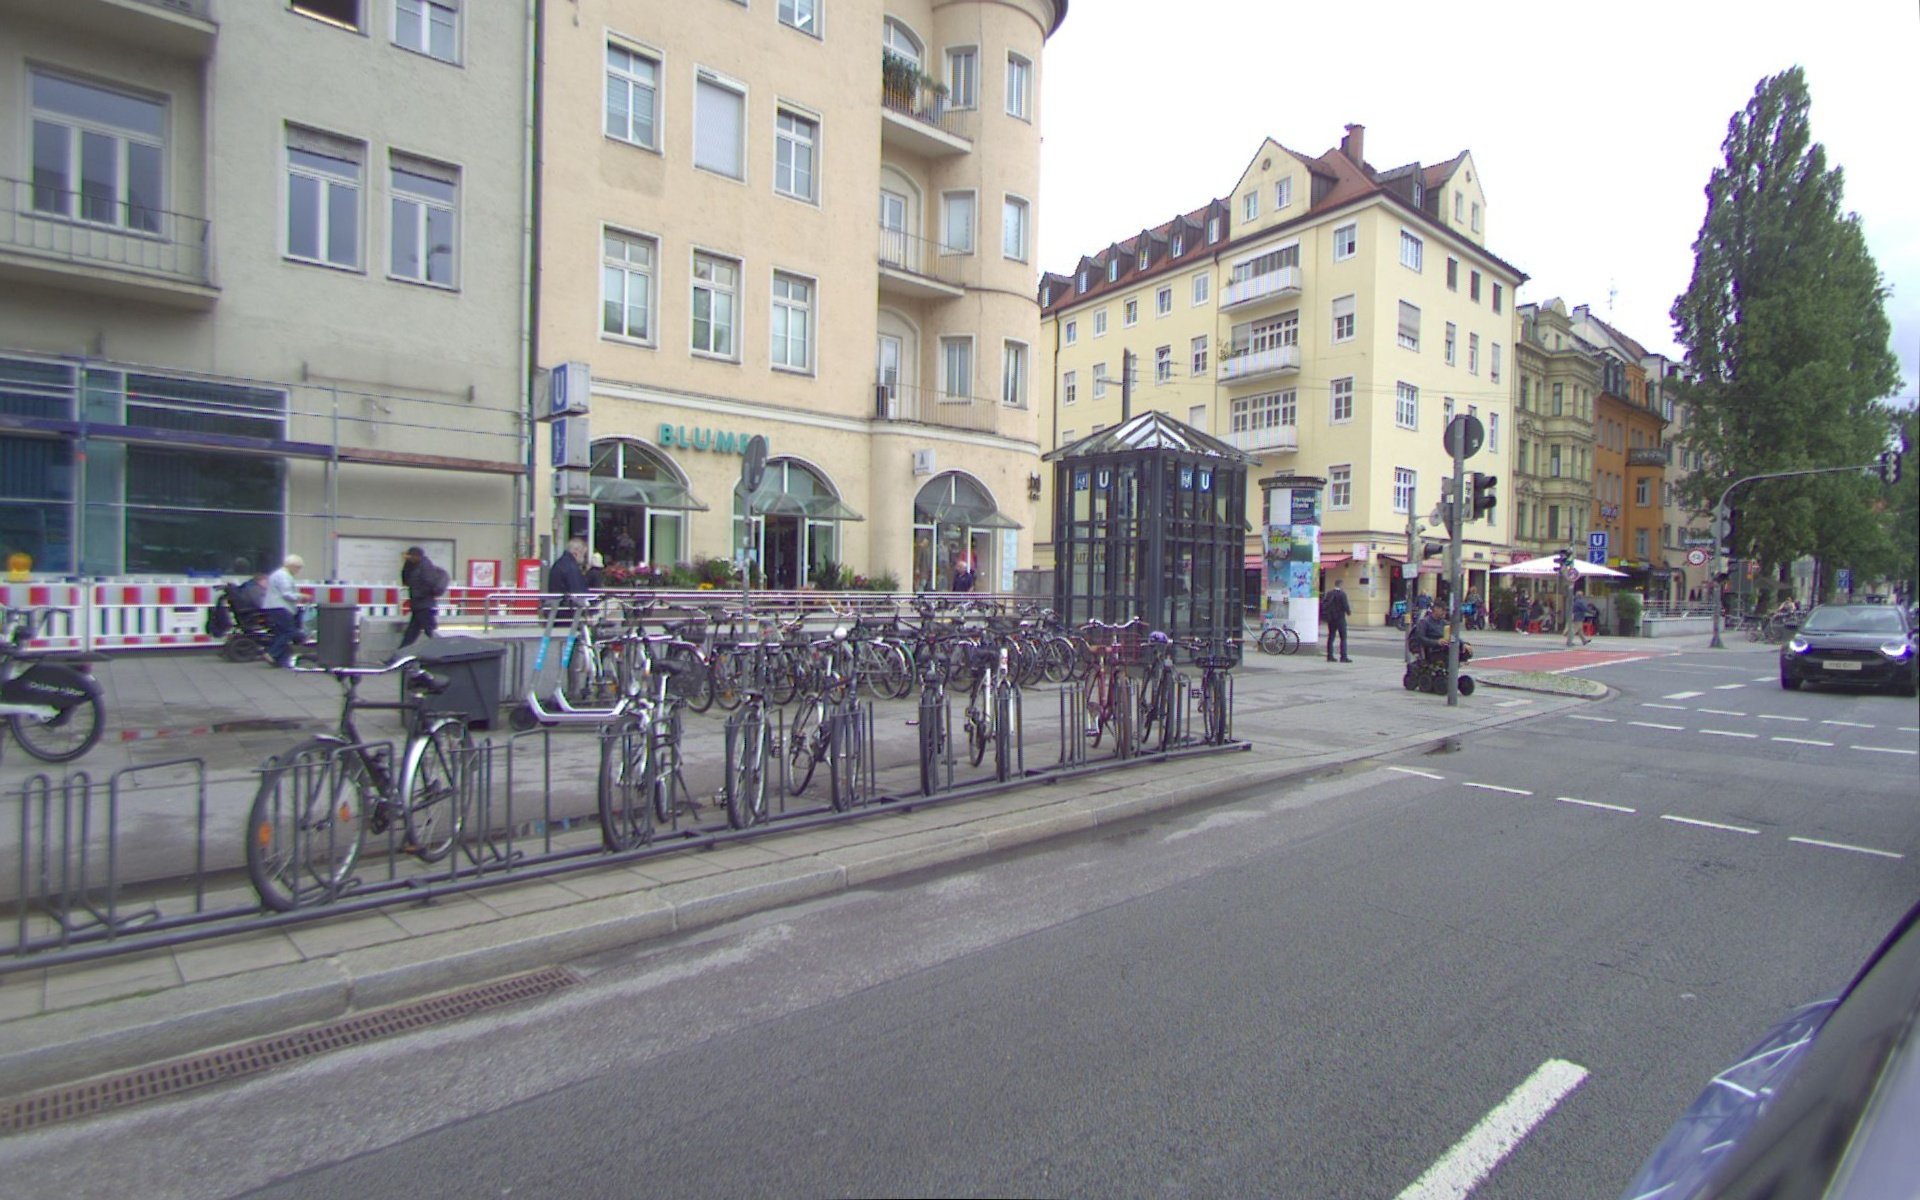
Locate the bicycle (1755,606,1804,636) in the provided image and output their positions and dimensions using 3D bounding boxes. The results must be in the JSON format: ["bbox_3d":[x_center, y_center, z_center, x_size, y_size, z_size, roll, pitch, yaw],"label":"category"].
[{"bbox_3d":[30.345,0.766,37.496,0.341,1.008,1.841,1,2,3],"label":"bicycle"}]

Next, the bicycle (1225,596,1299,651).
[{"bbox_3d":[6.930,0.530,23.267,0.515,1.174,1.573,3,1,-38],"label":"bicycle"}]

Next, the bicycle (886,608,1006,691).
[{"bbox_3d":[-0.223,0.627,13.537,0.500,0.976,1.840,1,1,-42],"label":"bicycle"}]

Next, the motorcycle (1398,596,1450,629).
[{"bbox_3d":[17.912,0.459,39.116,1.744,1.215,0.539,1,1,19],"label":"motorcycle"}]

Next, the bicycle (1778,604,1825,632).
[{"bbox_3d":[33.497,0.698,40.309,0.341,1.008,1.842,1,2,1],"label":"bicycle"}]

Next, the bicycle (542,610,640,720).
[{"bbox_3d":[-3.824,0.628,10.419,0.363,0.976,1.758,1,1,-40],"label":"bicycle"}]

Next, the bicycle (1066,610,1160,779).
[{"bbox_3d":[1.252,0.719,8.544,0.549,1.213,1.804,1,1,2],"label":"bicycle"}]

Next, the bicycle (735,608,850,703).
[{"bbox_3d":[-2.009,0.621,11.953,0.445,0.976,1.757,1,1,-42],"label":"bicycle"}]

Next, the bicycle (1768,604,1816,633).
[{"bbox_3d":[31.986,0.697,38.939,0.341,1.008,1.841,1,2,3],"label":"bicycle"}]

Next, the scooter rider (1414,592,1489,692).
[{"bbox_3d":[7.274,0.607,14.997,0.688,1.406,0.645,2,2,-11],"label":"scooter rider"}]

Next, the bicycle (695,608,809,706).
[{"bbox_3d":[-2.427,0.621,11.679,0.445,0.976,1.757,1,1,-42],"label":"bicycle"}]

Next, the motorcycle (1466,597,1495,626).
[{"bbox_3d":[21.179,0.466,41.160,1.544,1.171,0.487,0,1,-41],"label":"motorcycle"}]

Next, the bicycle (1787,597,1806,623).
[{"bbox_3d":[42.867,0.487,51.868,1.747,1.304,0.424,0,1,-41],"label":"bicycle"}]

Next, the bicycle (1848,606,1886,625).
[{"bbox_3d":[48.963,0.847,54.650,0.368,1.008,1.842,1,0,0],"label":"bicycle"}]

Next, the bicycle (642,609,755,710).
[{"bbox_3d":[-2.944,0.622,11.283,0.445,0.976,1.757,1,1,-42],"label":"bicycle"}]

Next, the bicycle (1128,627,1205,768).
[{"bbox_3d":[1.786,0.803,8.916,0.491,1.041,1.599,1,1,6],"label":"bicycle"}]

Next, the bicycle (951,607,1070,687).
[{"bbox_3d":[0.680,0.626,14.233,0.500,0.976,1.840,1,1,-42],"label":"bicycle"}]

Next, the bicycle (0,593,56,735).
[{"bbox_3d":[-8.118,0.509,8.698,0.443,1.088,1.554,1,1,-39],"label":"bicycle"}]

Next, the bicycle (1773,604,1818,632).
[{"bbox_3d":[33.009,0.699,40.020,0.342,1.008,1.840,1,2,4],"label":"bicycle"}]

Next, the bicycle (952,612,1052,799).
[{"bbox_3d":[0.271,0.706,7.585,0.537,1.172,1.806,1,1,-4],"label":"bicycle"}]

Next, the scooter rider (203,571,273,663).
[{"bbox_3d":[-10.149,0.221,14.231,0.707,1.234,0.686,1,2,-43],"label":"scooter rider"}]

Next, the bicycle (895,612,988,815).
[{"bbox_3d":[-0.170,0.705,7.069,0.537,1.172,1.806,1,1,-4],"label":"bicycle"}]

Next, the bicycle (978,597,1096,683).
[{"bbox_3d":[1.083,0.546,14.656,0.500,1.108,1.840,1,1,-42],"label":"bicycle"}]

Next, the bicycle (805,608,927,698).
[{"bbox_3d":[-1.211,0.626,12.649,0.500,0.976,1.840,1,1,-42],"label":"bicycle"}]

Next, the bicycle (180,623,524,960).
[{"bbox_3d":[-2.649,0.737,4.672,0.639,1.172,1.807,1,1,-6],"label":"bicycle"}]

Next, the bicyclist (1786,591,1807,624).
[{"bbox_3d":[42.808,0.378,51.795,0.923,1.623,0.681,0,1,-42],"label":"bicyclist"}]

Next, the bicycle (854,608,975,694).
[{"bbox_3d":[-0.626,0.627,13.213,0.500,0.976,1.840,1,1,-42],"label":"bicycle"}]

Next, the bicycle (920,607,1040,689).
[{"bbox_3d":[0.246,0.626,13.935,0.500,0.976,1.840,1,1,-42],"label":"bicycle"}]

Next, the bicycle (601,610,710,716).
[{"bbox_3d":[-3.294,0.634,10.845,0.445,0.976,1.758,1,1,-40],"label":"bicycle"}]

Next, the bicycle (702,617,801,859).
[{"bbox_3d":[-1.270,0.729,6.132,0.477,1.172,1.809,1,1,-12],"label":"bicycle"}]

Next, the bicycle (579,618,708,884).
[{"bbox_3d":[-1.711,0.726,5.658,0.477,1.172,1.808,1,1,-11],"label":"bicycle"}]

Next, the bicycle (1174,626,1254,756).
[{"bbox_3d":[2.362,0.805,9.535,0.491,1.041,1.599,1,1,6],"label":"bicycle"}]

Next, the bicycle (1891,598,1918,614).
[{"bbox_3d":[66.762,0.403,71.557,0.353,1.116,1.743,1,1,4],"label":"bicycle"}]

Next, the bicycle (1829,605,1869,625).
[{"bbox_3d":[46.871,0.798,53.351,0.368,1.008,1.843,1,0,-4],"label":"bicycle"}]

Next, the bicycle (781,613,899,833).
[{"bbox_3d":[-0.831,0.706,6.617,0.477,1.172,1.809,1,1,-15],"label":"bicycle"}]

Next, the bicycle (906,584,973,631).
[{"bbox_3d":[-0.489,0.175,24.824,0.494,1.103,1.837,2,1,42],"label":"bicycle"}]

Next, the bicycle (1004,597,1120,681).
[{"bbox_3d":[1.483,0.546,15.045,0.500,1.108,1.840,1,1,-42],"label":"bicycle"}]

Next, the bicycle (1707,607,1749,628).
[{"bbox_3d":[40.541,0.903,53.429,1.722,1.059,0.381,1,-1,43],"label":"bicycle"}]
